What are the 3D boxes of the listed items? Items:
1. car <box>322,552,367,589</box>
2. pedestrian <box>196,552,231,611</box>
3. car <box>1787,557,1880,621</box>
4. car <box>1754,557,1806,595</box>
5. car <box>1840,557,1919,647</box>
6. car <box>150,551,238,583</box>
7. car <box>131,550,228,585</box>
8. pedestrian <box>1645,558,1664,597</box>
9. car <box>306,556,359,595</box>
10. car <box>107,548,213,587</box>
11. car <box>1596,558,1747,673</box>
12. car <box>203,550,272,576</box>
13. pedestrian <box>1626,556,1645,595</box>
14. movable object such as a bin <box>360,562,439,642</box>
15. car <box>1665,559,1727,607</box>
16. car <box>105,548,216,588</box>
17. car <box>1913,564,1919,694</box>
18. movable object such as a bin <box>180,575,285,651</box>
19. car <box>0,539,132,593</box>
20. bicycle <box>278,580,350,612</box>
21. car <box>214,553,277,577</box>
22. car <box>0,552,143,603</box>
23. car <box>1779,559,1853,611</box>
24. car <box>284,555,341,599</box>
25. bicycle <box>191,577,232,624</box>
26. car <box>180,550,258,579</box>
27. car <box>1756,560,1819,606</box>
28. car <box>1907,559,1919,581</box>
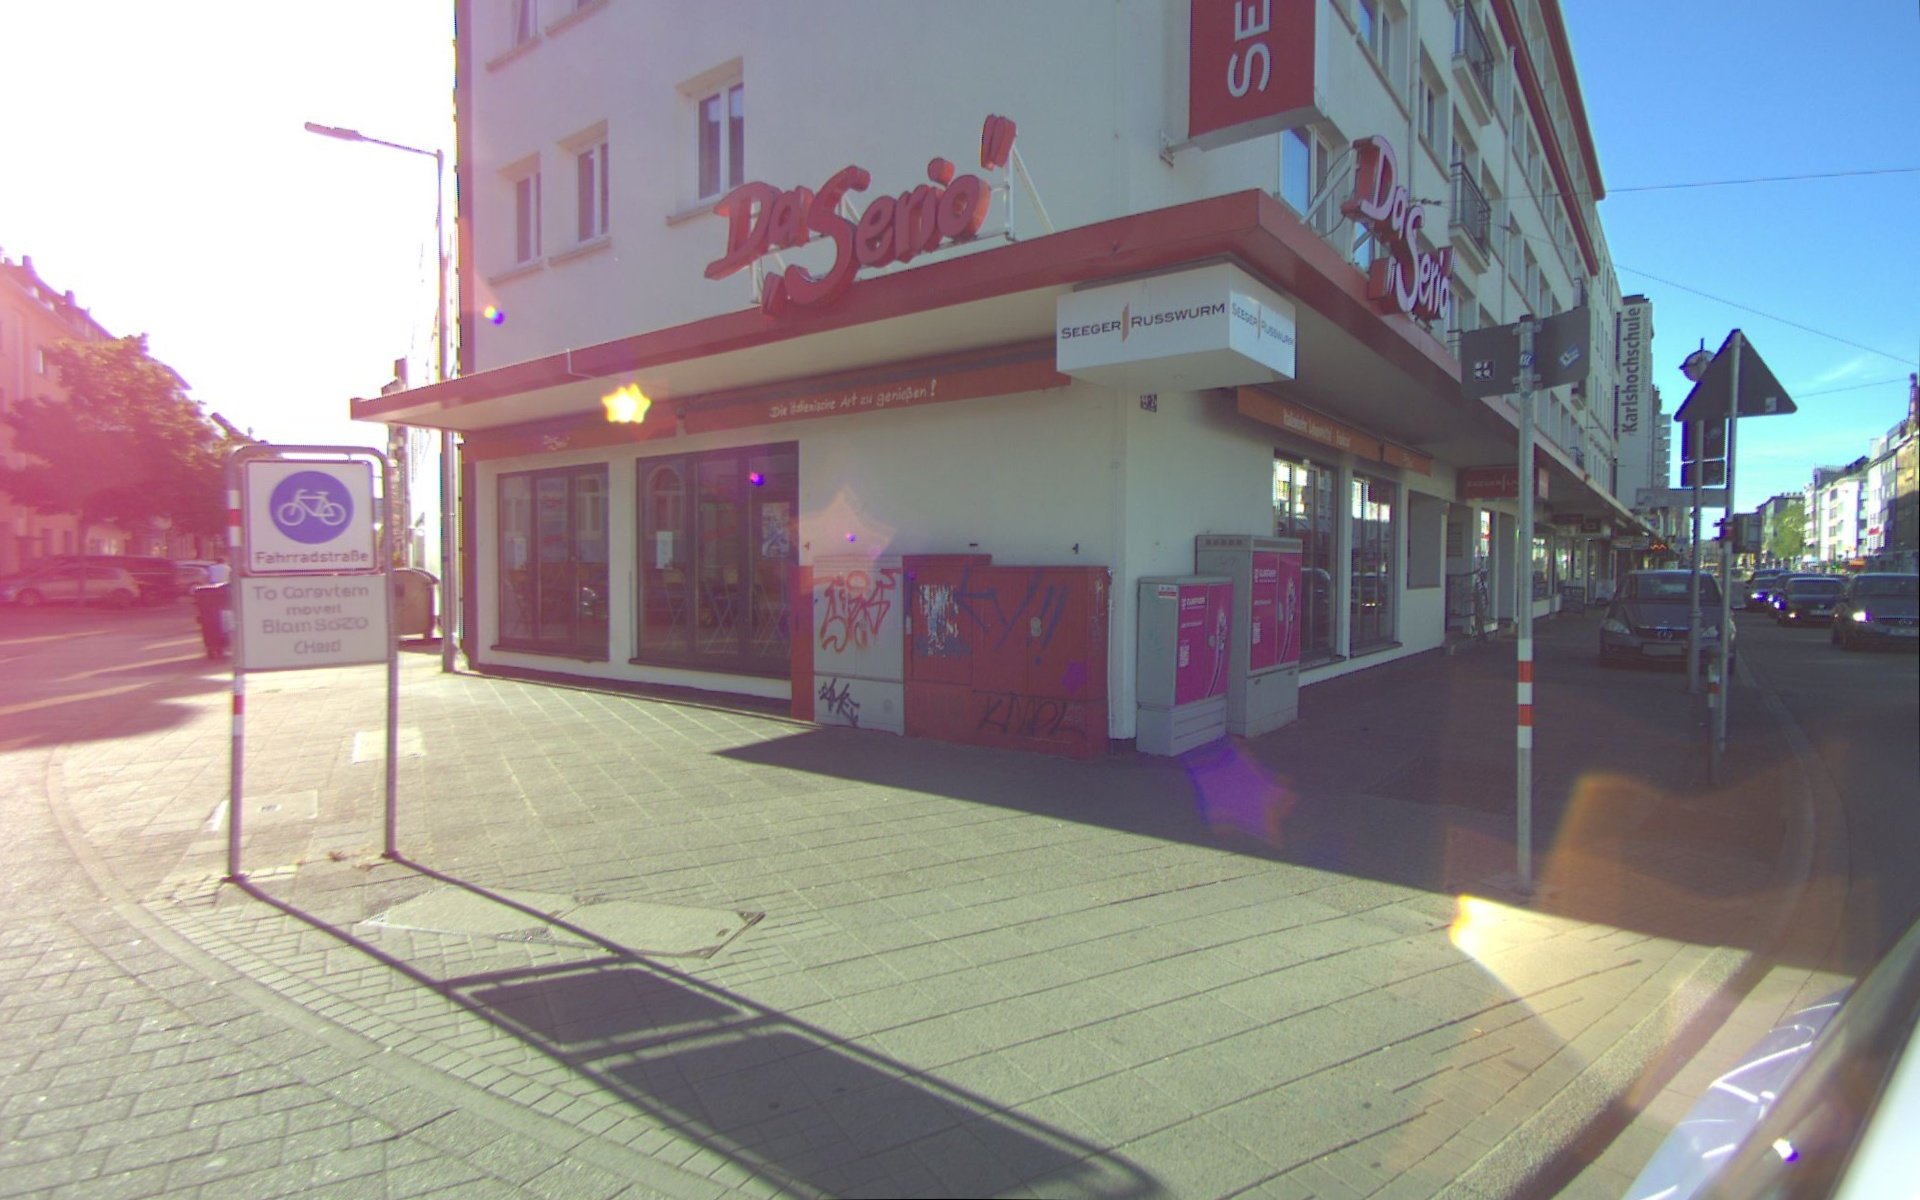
[{"bbox_3d":[-35.142,-1.673,57.858,1.844,1.922,4.319,3,0,-28],"label":"car"},{"bbox_3d":[-18.581,-0.463,25.187,0.553,1.438,0.675,3,0,-28],"label":"pedestrian"},{"bbox_3d":[25.743,-0.393,29.947,1.775,1.683,3.909,3,4,37],"label":"car"},{"bbox_3d":[39.266,-1.205,48.519,1.730,1.683,3.909,3,4,37],"label":"car"},{"bbox_3d":[19.515,-0.021,20.882,1.730,1.683,3.909,3,4,37],"label":"car"},{"bbox_3d":[-46.946,-2.024,62.117,4.027,1.746,1.884,2,0,-31],"label":"car"},{"bbox_3d":[-43.558,-1.811,56.586,4.027,1.746,1.884,2,0,-31],"label":"car"},{"bbox_3d":[33.332,-1.100,48.593,0.734,1.840,0.739,1,2,35],"label":"pedestrian"},{"bbox_3d":[-30.774,-1.220,49.715,1.844,1.746,4.319,3,0,-28],"label":"car"},{"bbox_3d":[-41.417,-1.670,52.511,4.027,1.746,1.884,2,0,-31],"label":"car"},{"bbox_3d":[11.669,0.135,16.528,1.773,1.587,3.909,3,4,37],"label":"car"},{"bbox_3d":[-54.612,-2.760,76.620,4.027,1.746,1.884,2,0,-31],"label":"car"},{"bbox_3d":[32.342,-1.192,48.455,0.702,1.840,0.797,1,2,35],"label":"pedestrian"},{"bbox_3d":[-10.757,0.003,19.423,1.257,1.458,1.221,-2,2,-30],"label":"movable object such as a bin"},{"bbox_3d":[28.050,-0.700,38.529,1.775,1.683,4.108,3,4,37],"label":"car"},{"bbox_3d":[-39.390,-1.578,49.977,4.027,1.746,1.884,2,0,-31],"label":"car"},{"bbox_3d":[10.460,0.442,9.352,1.860,1.456,4.711,3,4,37],"label":"car"},{"bbox_3d":[-13.399,0.202,18.726,1.390,1.305,1.652,-2,2,-30],"label":"movable object such as a bin"},{"bbox_3d":[-34.772,-1.304,39.069,4.097,1.825,1.883,3,0,-34],"label":"car"},{"bbox_3d":[-19.537,-0.128,30.623,1.771,0.842,0.440,-3,3,-29],"label":"bicycle"},{"bbox_3d":[-58.567,-2.871,83.024,4.027,1.746,1.884,2,0,-31],"label":"car"},{"bbox_3d":[-30.879,-0.764,34.533,1.863,1.568,4.275,3,0,25],"label":"car"},{"bbox_3d":[30.419,-0.578,36.057,1.730,1.683,3.909,3,4,37],"label":"car"},{"bbox_3d":[-27.615,-0.996,43.255,1.844,1.746,4.114,3,0,-31],"label":"car"},{"bbox_3d":[-18.569,0.000,25.126,0.547,1.100,1.547,3,0,-28],"label":"bicycle"},{"bbox_3d":[-50.243,-2.396,68.729,4.027,1.746,1.884,2,0,-31],"label":"car"},{"bbox_3d":[32.965,-0.728,40.399,1.730,1.683,3.732,3,4,37],"label":"car"},{"bbox_3d":[67.239,-2.067,70.172,1.772,1.528,3.810,3,3,36],"label":"car"}]
